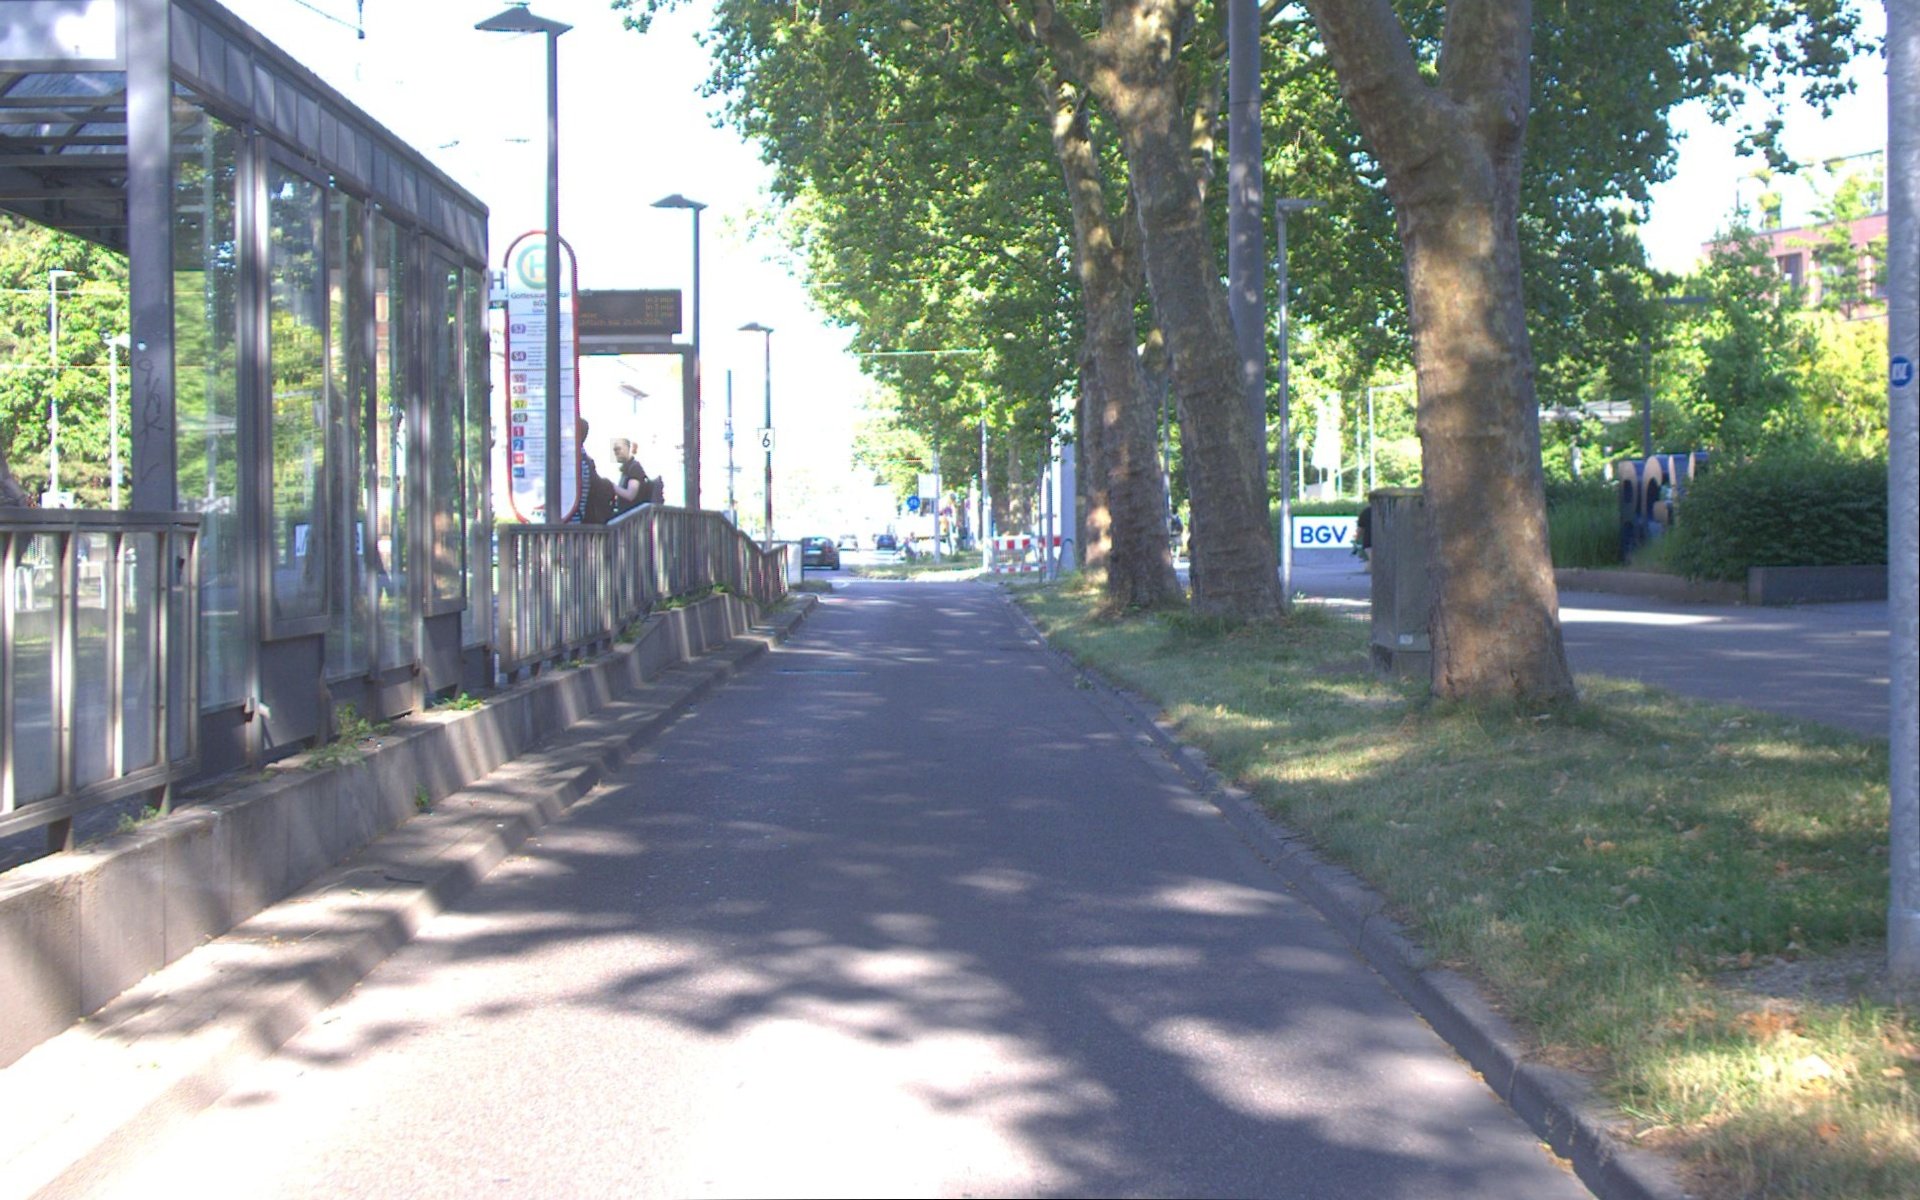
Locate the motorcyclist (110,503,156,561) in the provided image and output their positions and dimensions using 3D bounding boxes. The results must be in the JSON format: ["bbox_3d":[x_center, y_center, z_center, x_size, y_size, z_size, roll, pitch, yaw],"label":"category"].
[{"bbox_3d":[-19.021,-1.566,79.078,0.817,1.295,1.277,1,1,-5],"label":"motorcyclist"}]

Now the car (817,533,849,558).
[{"bbox_3d":[-9.700,-4.161,262.342,1.993,1.853,4.001,1,1,-7],"label":"car"}]

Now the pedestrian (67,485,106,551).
[{"bbox_3d":[-25.846,-2.411,101.718,0.858,1.921,1.087,-2,1,-2],"label":"pedestrian"}]

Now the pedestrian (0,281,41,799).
[{"bbox_3d":[-3.631,-0.210,11.457,0.907,1.716,0.631,1,1,-34],"label":"pedestrian"}]

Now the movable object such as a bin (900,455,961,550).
[{"bbox_3d":[-1.704,-5.467,193.542,3.087,5.071,8.893,-3,1,-1],"label":"movable object such as a bin"}]

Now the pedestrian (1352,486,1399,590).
[{"bbox_3d":[6.682,-0.998,55.302,0.627,1.651,0.740,-2,1,-1],"label":"pedestrian"}]

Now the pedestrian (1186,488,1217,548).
[{"bbox_3d":[7.336,-2.503,104.414,0.805,1.787,1.110,-2,1,0],"label":"pedestrian"}]

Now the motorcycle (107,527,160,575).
[{"bbox_3d":[-19.047,-1.145,79.253,0.817,1.069,2.402,1,1,-5],"label":"motorcycle"}]

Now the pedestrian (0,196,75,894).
[{"bbox_3d":[-2.785,-0.149,8.937,0.765,1.752,0.695,1,1,-1],"label":"pedestrian"}]

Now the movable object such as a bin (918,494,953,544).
[{"bbox_3d":[-1.528,-5.056,215.715,1.968,3.002,4.797,-3,1,-1],"label":"movable object such as a bin"}]

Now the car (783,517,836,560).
[{"bbox_3d":[-6.118,-2.505,139.874,1.993,1.678,4.000,1,1,-1],"label":"car"}]

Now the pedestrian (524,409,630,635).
[{"bbox_3d":[-2.915,-0.593,26.220,0.679,1.684,0.894,1,1,0],"label":"pedestrian"}]

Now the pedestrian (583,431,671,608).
[{"bbox_3d":[-3.243,-0.785,33.539,0.757,1.684,0.678,1,1,0],"label":"pedestrian"}]

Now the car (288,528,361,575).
[{"bbox_3d":[-20.133,-1.545,109.065,1.606,1.403,3.851,1,1,-1],"label":"car"}]
